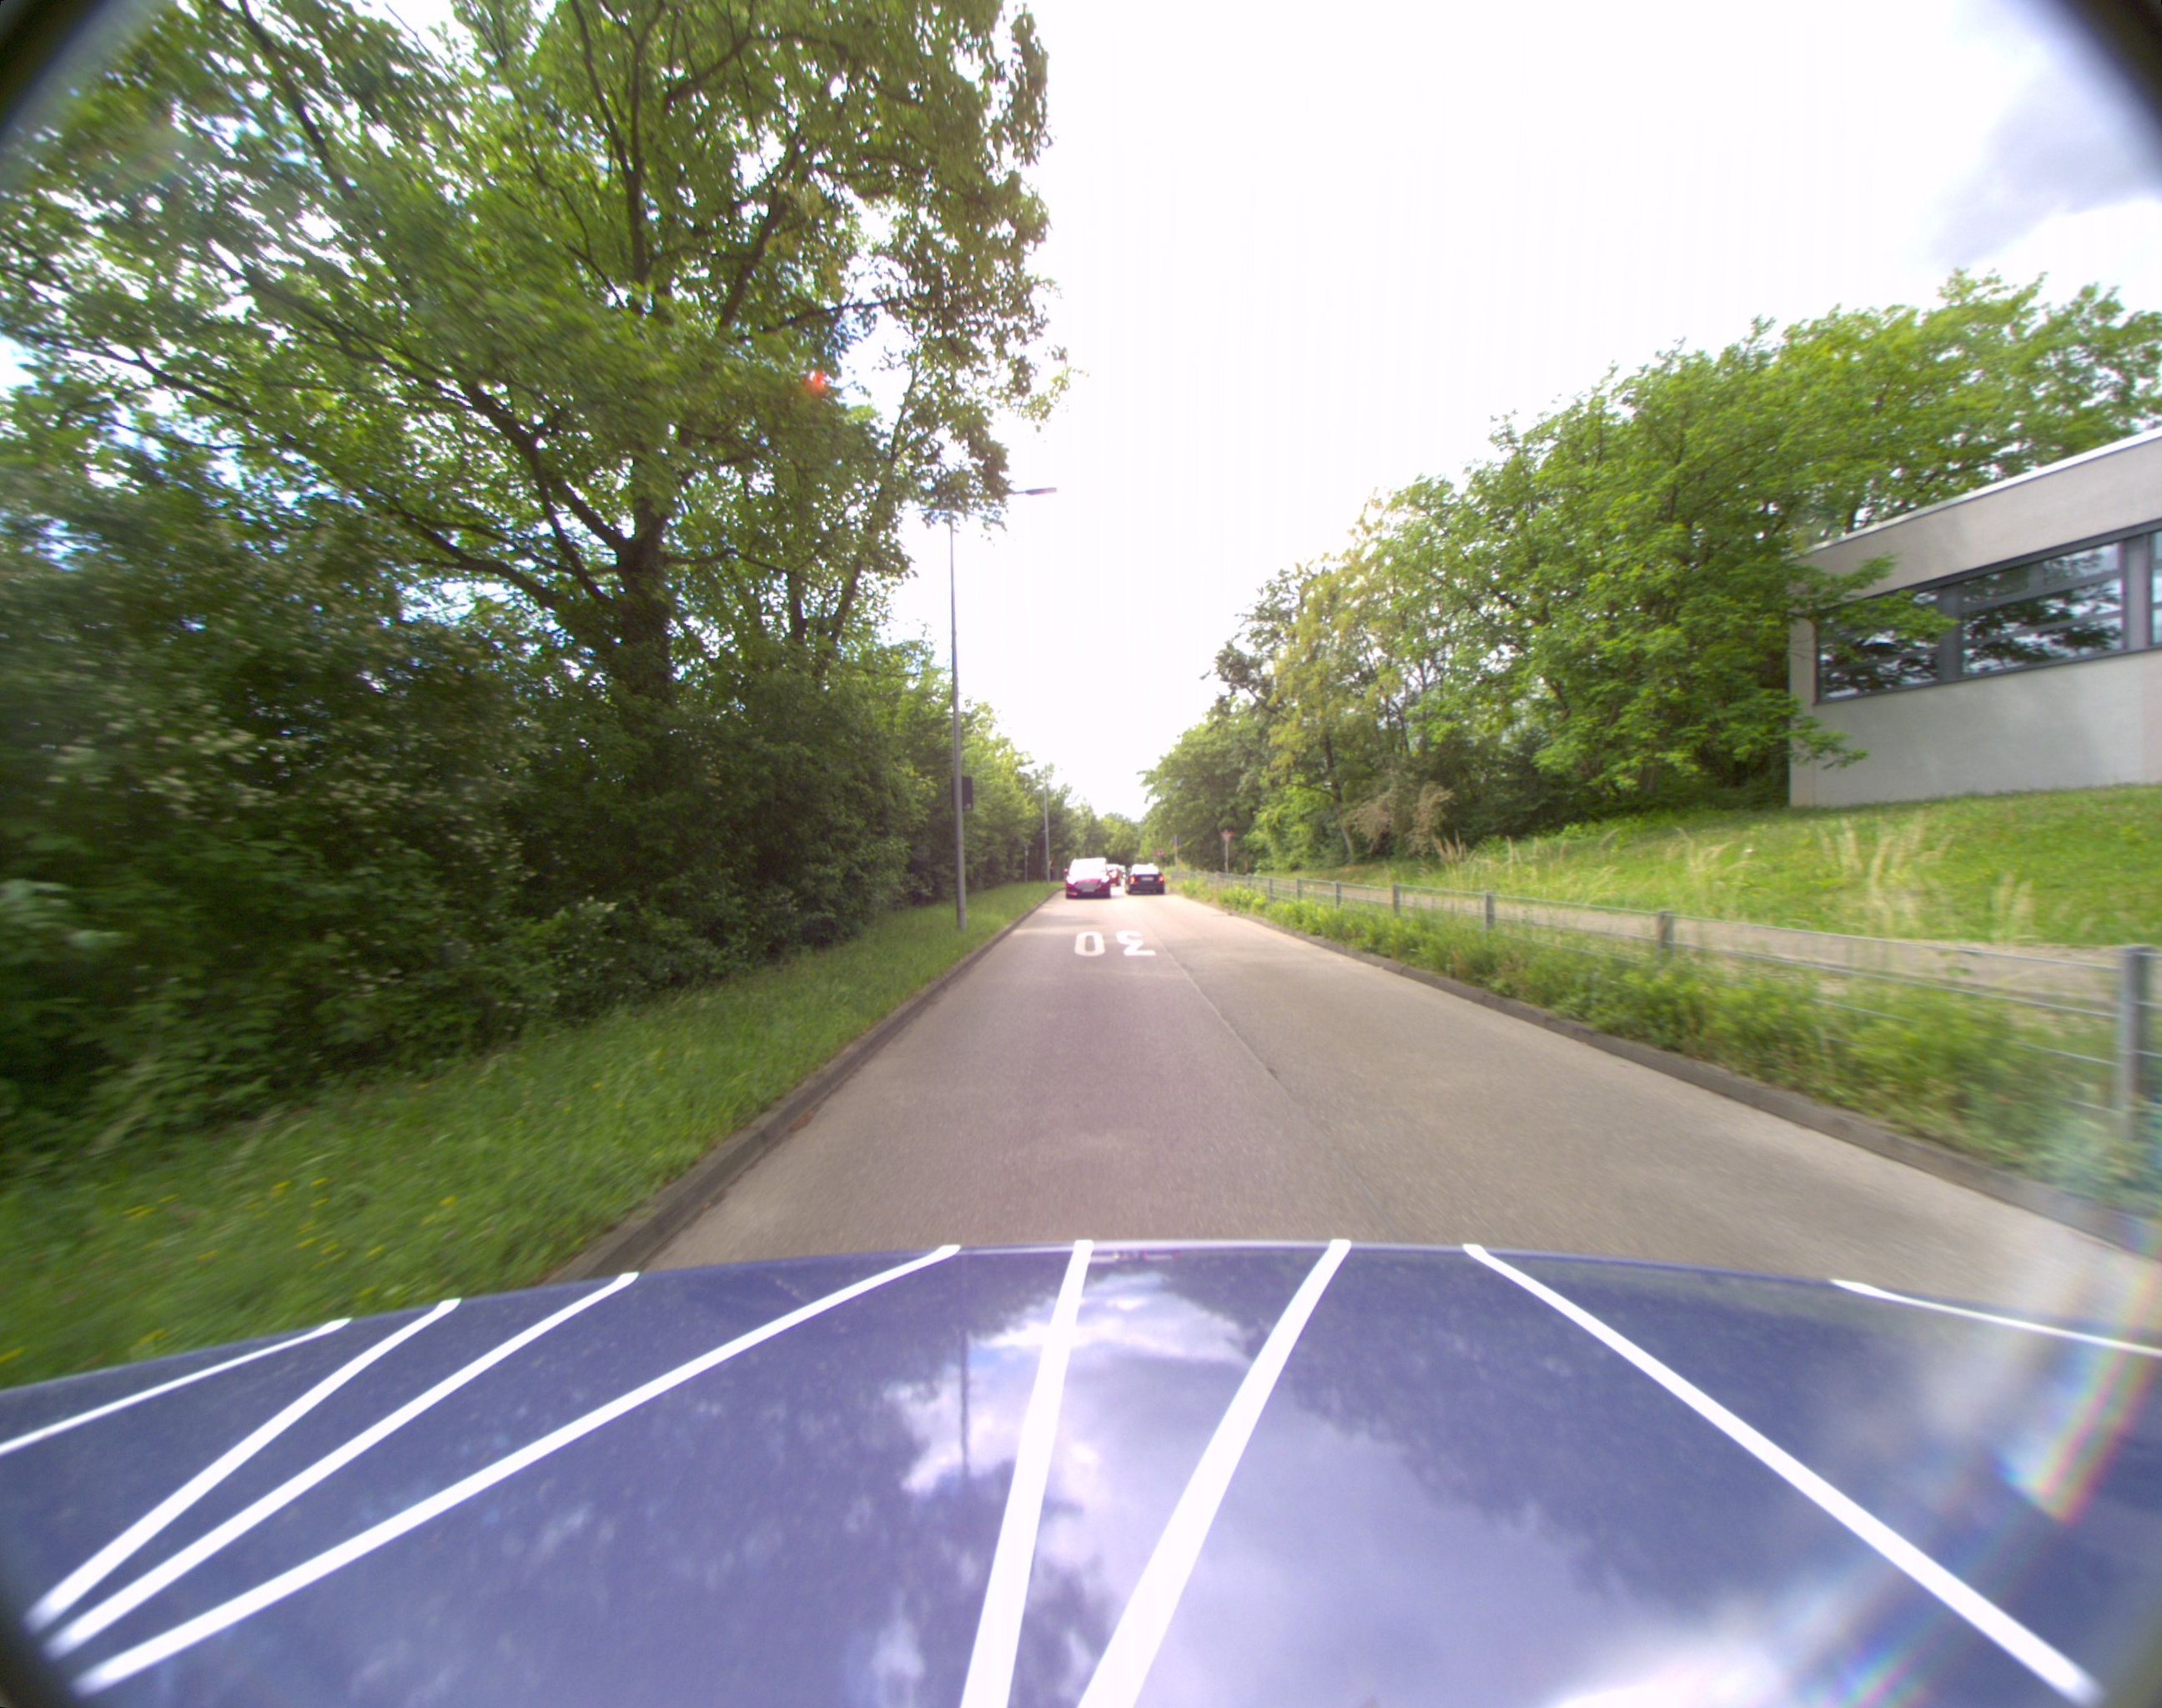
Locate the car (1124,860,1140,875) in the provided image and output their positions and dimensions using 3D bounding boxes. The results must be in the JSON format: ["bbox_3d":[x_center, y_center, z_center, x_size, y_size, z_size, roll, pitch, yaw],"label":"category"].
[{"bbox_3d":[6.054,1.592,90.479,1.801,1.434,3.999,-2,2,2],"label":"car"}]

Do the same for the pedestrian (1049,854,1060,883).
[{"bbox_3d":[-1.723,0.934,49.541,0.674,1.826,0.606,-2,1,-2],"label":"pedestrian"}]

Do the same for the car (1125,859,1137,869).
[{"bbox_3d":[8.107,1.632,122.771,1.717,1.521,3.671,-2,1,8],"label":"car"}]

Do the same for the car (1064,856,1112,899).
[{"bbox_3d":[0.382,0.954,32.855,1.861,1.608,4.476,-2,0,2],"label":"car"}]

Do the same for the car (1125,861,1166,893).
[{"bbox_3d":[2.984,1.059,35.699,1.620,1.324,4.000,-2,0,1],"label":"car"}]

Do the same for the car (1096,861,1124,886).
[{"bbox_3d":[1.940,1.257,51.043,1.792,1.483,4.000,-2,1,2],"label":"car"}]
